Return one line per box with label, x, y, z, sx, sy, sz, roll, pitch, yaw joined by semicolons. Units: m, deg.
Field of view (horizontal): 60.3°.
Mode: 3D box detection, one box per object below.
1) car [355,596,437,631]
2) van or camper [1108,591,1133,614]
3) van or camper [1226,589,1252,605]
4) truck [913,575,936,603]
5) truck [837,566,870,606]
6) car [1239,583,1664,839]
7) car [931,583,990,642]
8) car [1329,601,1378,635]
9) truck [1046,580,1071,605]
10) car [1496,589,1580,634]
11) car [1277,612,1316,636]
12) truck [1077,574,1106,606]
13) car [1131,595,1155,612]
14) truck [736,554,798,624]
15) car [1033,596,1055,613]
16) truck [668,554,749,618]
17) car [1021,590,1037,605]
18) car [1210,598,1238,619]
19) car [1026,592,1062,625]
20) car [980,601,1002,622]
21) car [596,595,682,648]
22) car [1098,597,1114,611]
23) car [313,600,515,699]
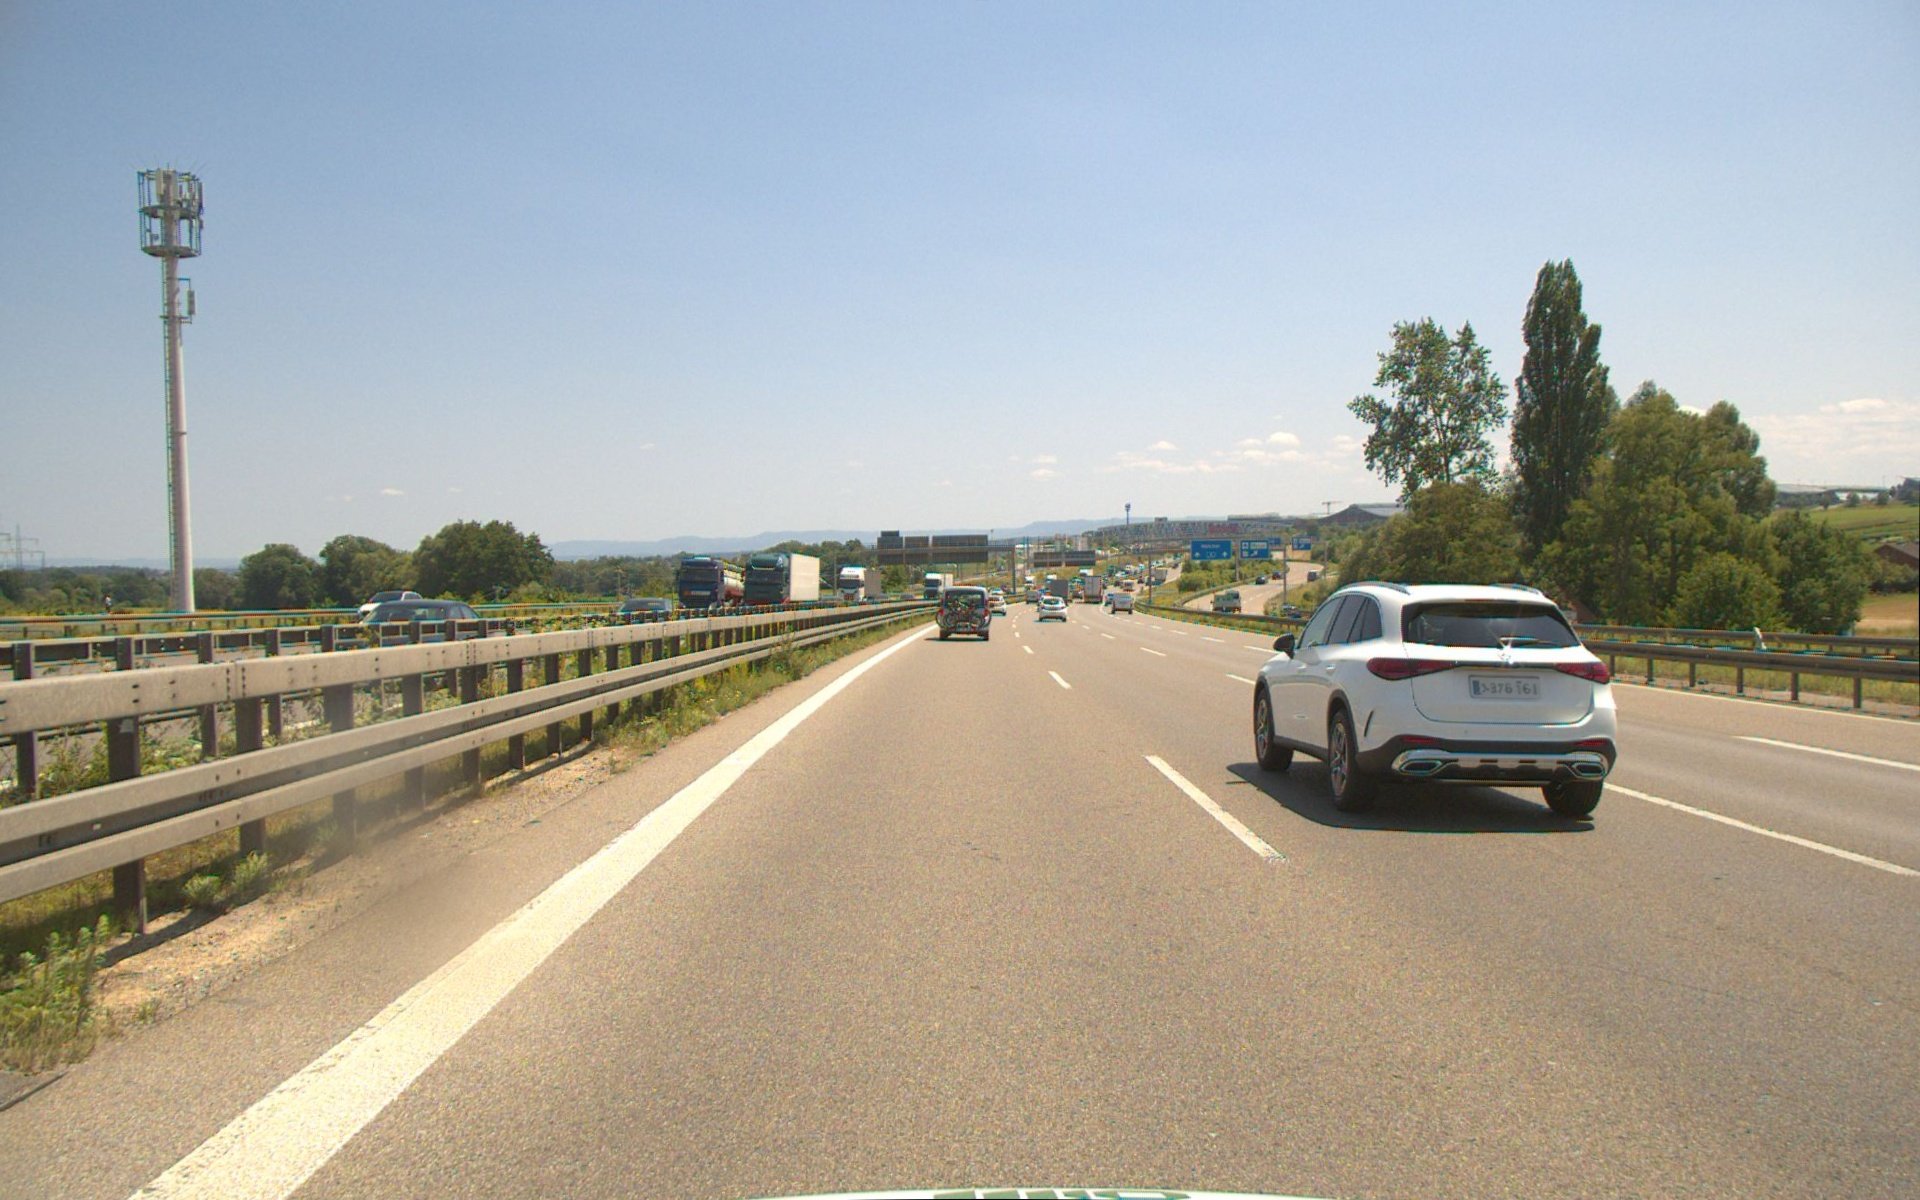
car;-24.030;0.556;70.677;1.486;1.426;4.800;0;0;5
van or camper;14.659;0.228;151.077;2.110;2.049;4.306;0;0;4
van or camper;34.866;-0.351;206.574;2.477;2.049;4.460;0;0;-1
truck;-5.487;-1.712;256.678;2.971;4.314;6.688;0;0;4
truck;-11.282;-1.495;175.905;2.821;4.189;6.386;1;0;2
car;3.643;0.729;13.329;1.859;1.676;4.997;0;0;-1
car;0.051;0.414;57.650;1.886;1.952;4.949;0;0;2
car;22.882;1.027;96.303;1.899;1.957;4.179;0;0;0
truck;12.779;-0.898;214.326;2.645;3.163;10.667;0;0;7
car;21.438;0.414;61.511;1.665;1.602;4.127;0;0;-1
car;23.654;1.691;116.525;1.952;1.624;4.000;0;0;0
truck;19.611;-1.559;245.391;3.953;4.335;11.768;0;3;6
car;18.998;0.368;171.979;1.953;1.720;3.999;0;0;-1
truck;-11.935;-0.667;103.099;2.906;4.192;7.598;0;0;0
car;7.864;0.397;154.828;1.941;1.499;4.000;0;0;0
truck;-15.991;-0.883;106.251;3.152;3.852;12.901;0;0;0
car;9.429;-0.369;226.802;2.140;2.038;4.002;0;0;3
car;25.876;0.857;162.450;1.954;2.049;3.998;0;0;-3
car;5.099;0.525;100.812;1.887;1.952;4.517;0;0;-1
car;2.387;0.851;127.063;1.543;1.579;3.965;0;0;3
car;-9.530;0.616;49.450;1.643;1.489;4.704;0;0;0
car;19.312;0.519;218.706;1.952;1.720;4.001;0;0;3
car;-8.969;0.760;27.590;1.829;1.489;4.638;0;0;0
